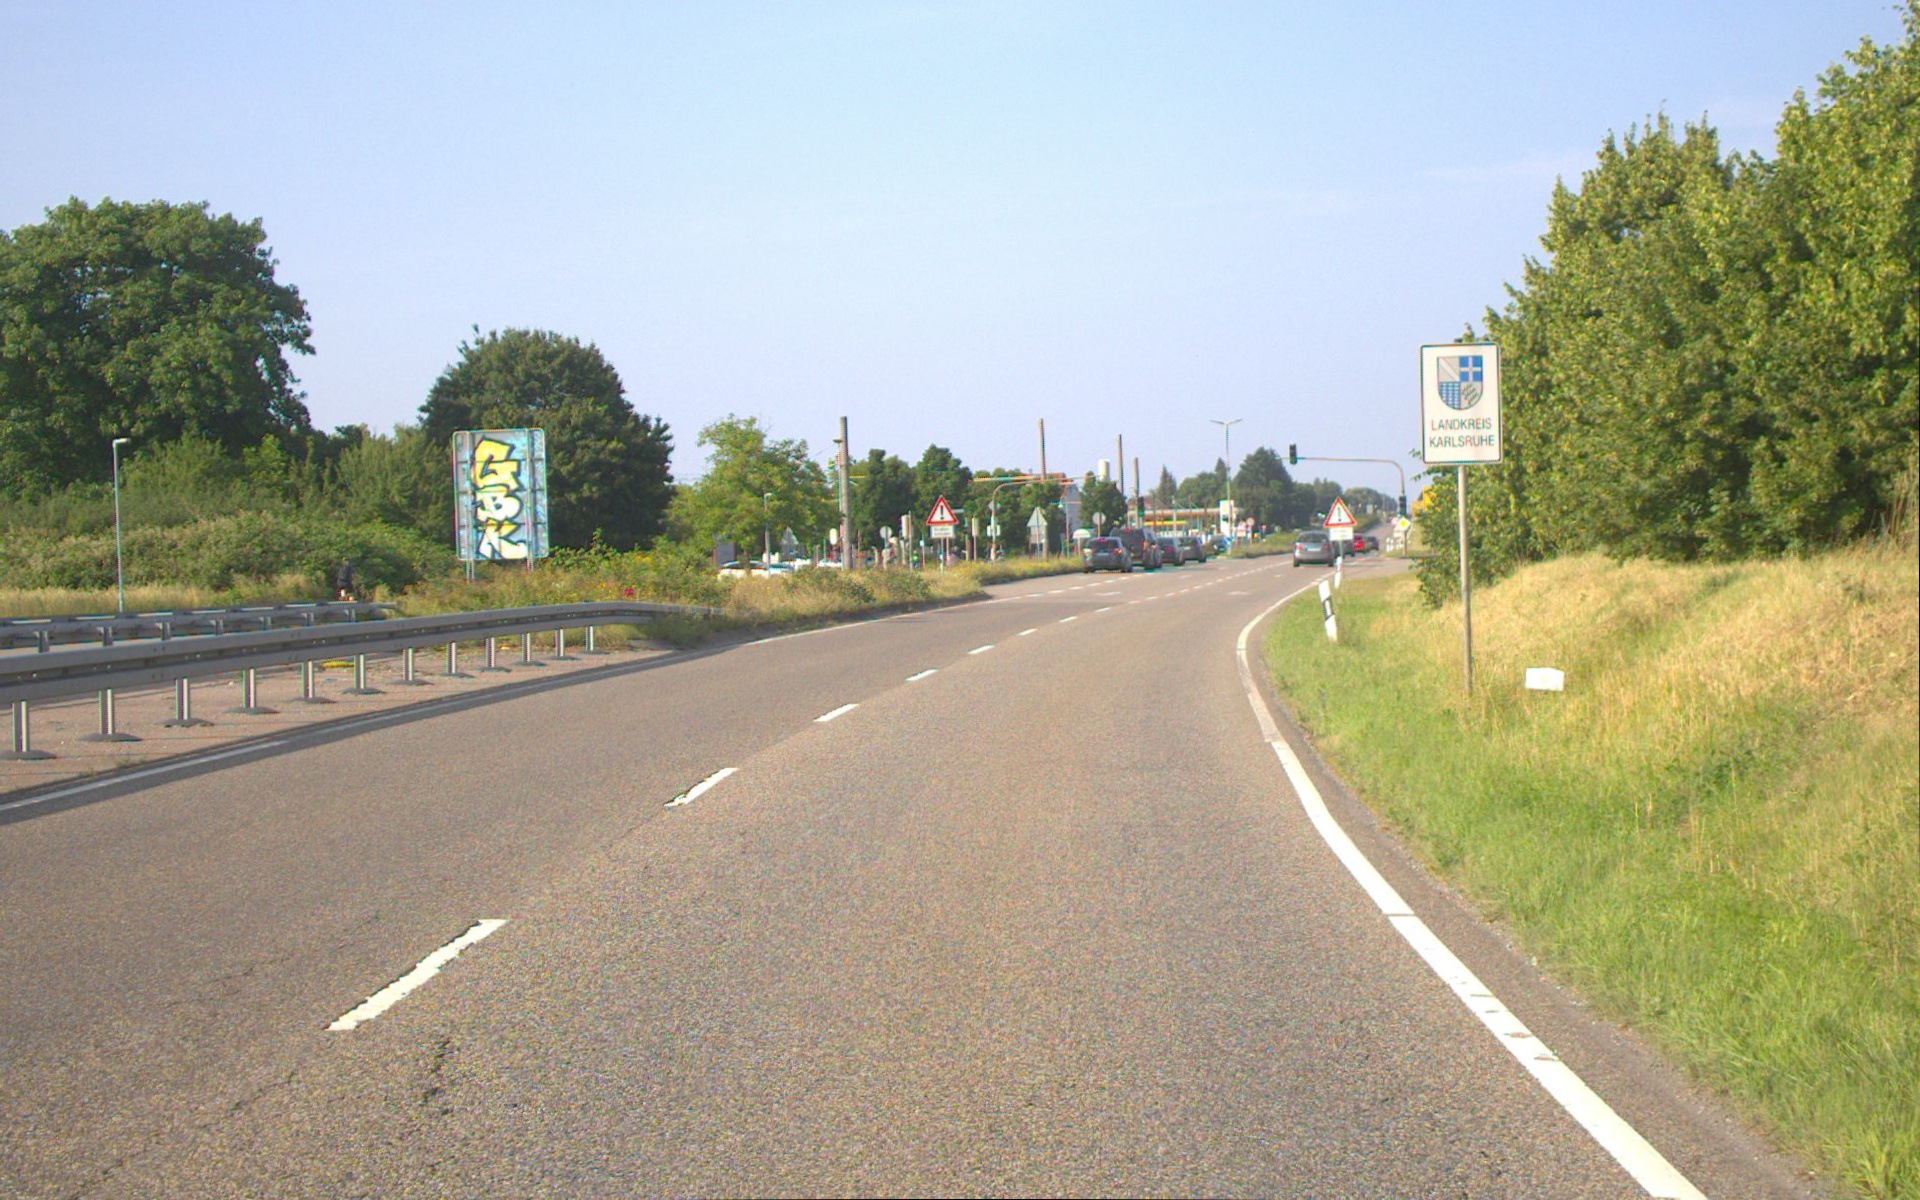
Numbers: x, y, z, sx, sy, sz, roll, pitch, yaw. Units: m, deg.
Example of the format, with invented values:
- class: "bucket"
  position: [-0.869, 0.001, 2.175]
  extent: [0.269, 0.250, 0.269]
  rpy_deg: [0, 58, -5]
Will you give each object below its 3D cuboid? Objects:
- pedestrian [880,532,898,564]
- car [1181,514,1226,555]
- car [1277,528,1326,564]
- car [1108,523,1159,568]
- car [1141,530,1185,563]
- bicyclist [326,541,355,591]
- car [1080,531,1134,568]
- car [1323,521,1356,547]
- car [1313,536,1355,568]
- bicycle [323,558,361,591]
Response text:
- class: "pedestrian"
  position: [-3.893, -2.853, 188.173]
  extent: [0.915, 1.700, 1.067]
  rpy_deg: [0, 0, 2]
- class: "car"
  position: [13.027, -3.481, 183.708]
  extent: [1.994, 2.007, 4.834]
  rpy_deg: [-1, -1, 9]
- class: "car"
  position: [15.421, -2.459, 155.203]
  extent: [1.994, 1.546, 3.999]
  rpy_deg: [-1, 1, 8]
- class: "car"
  position: [7.498, -2.375, 148.595]
  extent: [1.733, 1.849, 4.519]
  rpy_deg: [-1, 1, 8]
- class: "car"
  position: [9.821, -2.584, 165.915]
  extent: [1.770, 1.466, 4.014]
  rpy_deg: [-1, 2, 8]
- class: "bicyclist"
  position: [-17.259, -0.953, 95.841]
  extent: [0.467, 1.385, 1.047]
  rpy_deg: [-1, 1, 8]
- class: "car"
  position: [6.069, -2.096, 141.883]
  extent: [1.733, 1.451, 4.519]
  rpy_deg: [-1, 1, 8]
- class: "car"
  position: [25.118, -4.379, 227.579]
  extent: [1.994, 1.590, 3.999]
  rpy_deg: [-2, 1, 8]
- class: "car"
  position: [19.440, -2.512, 178.617]
  extent: [1.994, 1.546, 3.999]
  rpy_deg: [-1, 1, 8]
- class: "bicycle"
  position: [-17.231, -0.711, 95.859]
  extent: [0.530, 0.875, 1.704]
  rpy_deg: [-1, 1, 8]
